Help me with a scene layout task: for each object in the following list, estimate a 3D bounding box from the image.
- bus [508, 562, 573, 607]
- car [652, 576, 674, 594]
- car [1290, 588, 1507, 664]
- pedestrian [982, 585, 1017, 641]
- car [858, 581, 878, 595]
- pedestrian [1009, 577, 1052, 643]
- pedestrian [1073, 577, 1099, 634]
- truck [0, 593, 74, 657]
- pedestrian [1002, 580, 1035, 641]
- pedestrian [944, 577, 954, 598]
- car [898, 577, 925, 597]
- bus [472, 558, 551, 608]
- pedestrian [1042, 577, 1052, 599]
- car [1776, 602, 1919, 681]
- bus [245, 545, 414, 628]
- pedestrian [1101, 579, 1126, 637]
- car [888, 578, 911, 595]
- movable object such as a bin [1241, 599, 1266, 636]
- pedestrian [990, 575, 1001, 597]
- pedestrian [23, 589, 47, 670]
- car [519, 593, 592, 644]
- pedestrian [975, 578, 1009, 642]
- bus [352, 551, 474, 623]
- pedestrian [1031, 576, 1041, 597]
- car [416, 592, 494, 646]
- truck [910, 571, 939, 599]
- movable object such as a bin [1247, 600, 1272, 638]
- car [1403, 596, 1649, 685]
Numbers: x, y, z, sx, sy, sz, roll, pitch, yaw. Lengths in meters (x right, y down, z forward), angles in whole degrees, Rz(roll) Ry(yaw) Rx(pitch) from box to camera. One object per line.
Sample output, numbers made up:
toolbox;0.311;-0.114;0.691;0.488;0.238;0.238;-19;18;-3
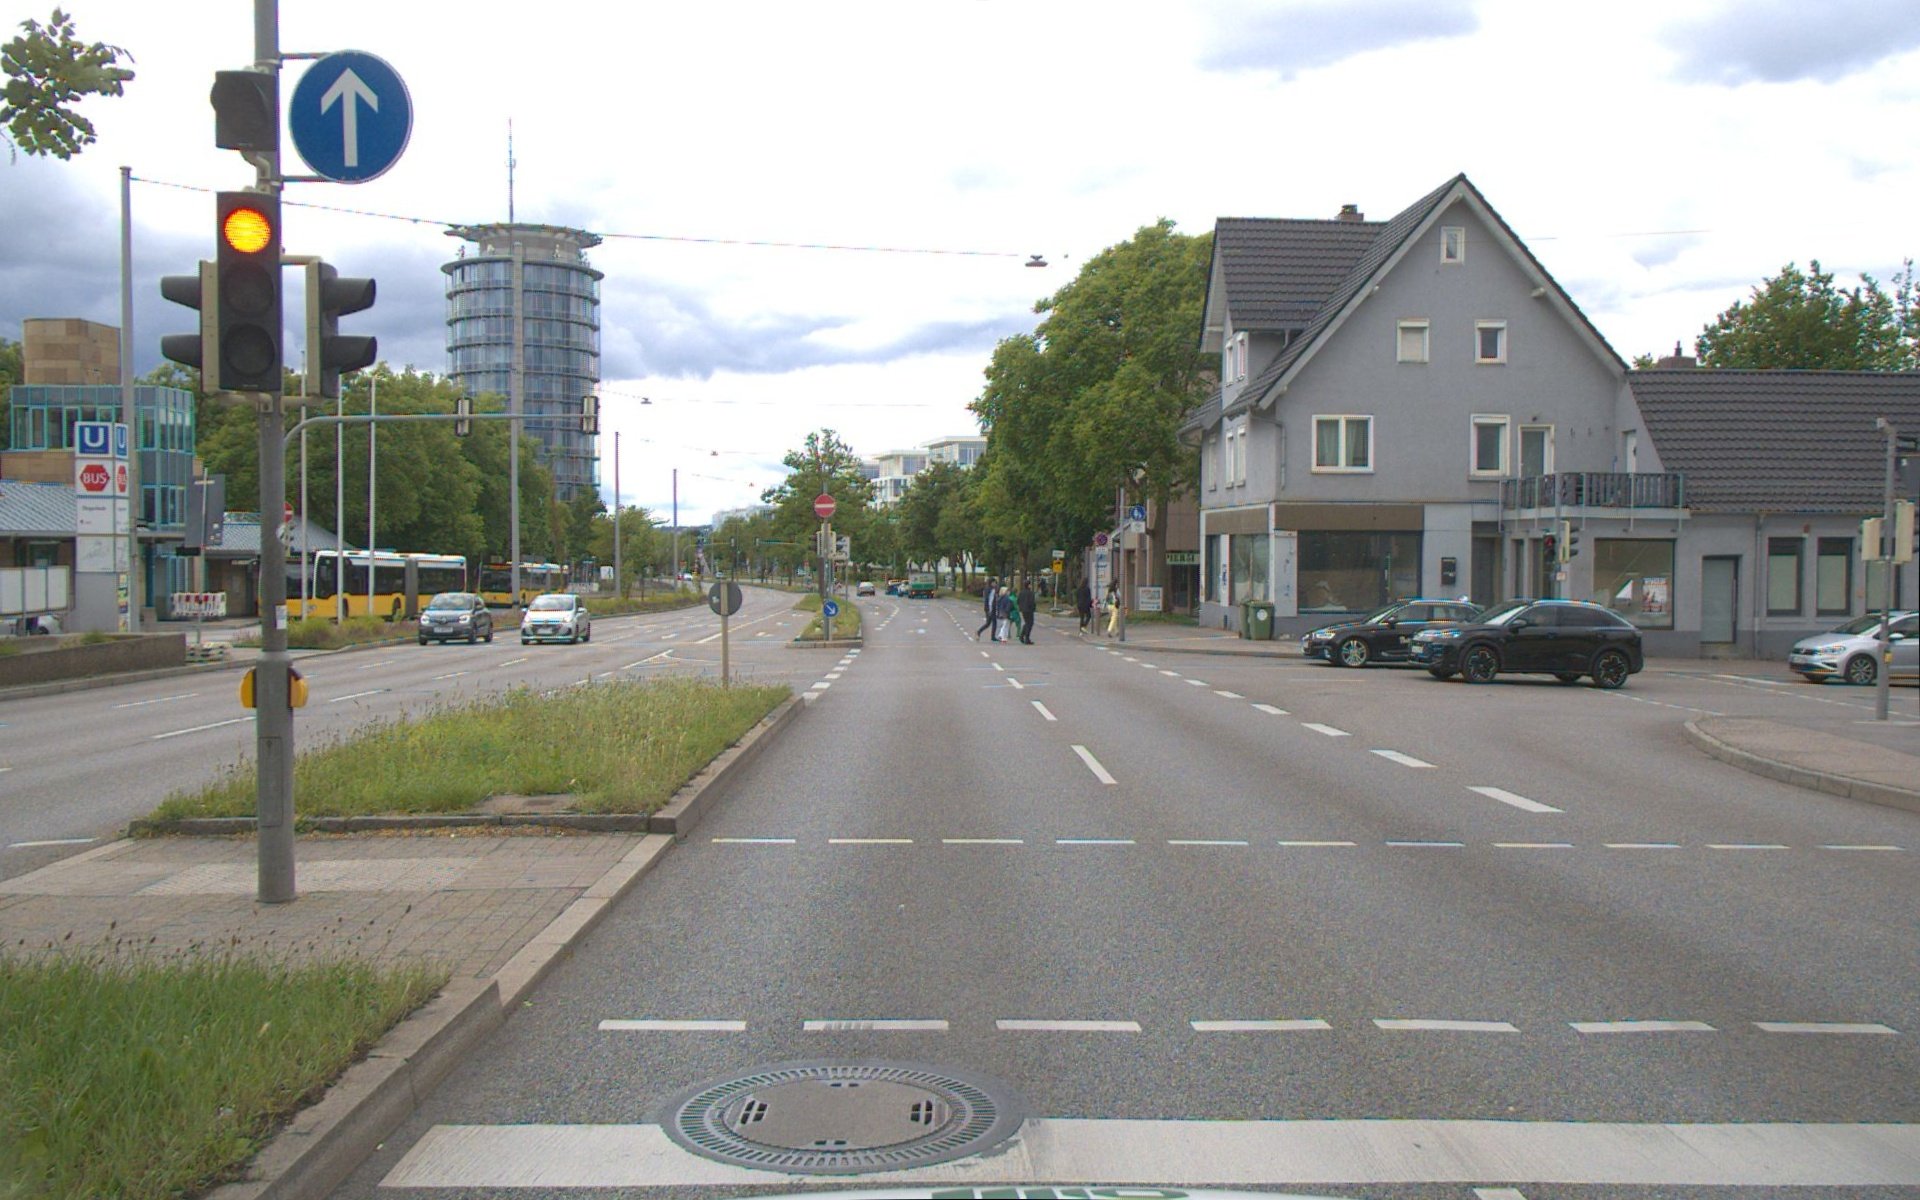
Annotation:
bus;-31.140;-1.137;123.011;3.081;3.281;7.762;0;0;-2
car;-35.896;-1.838;199.743;1.925;2.049;3.999;1;0;-1
car;9.185;0.520;34.828;4.007;1.521;1.892;0;0;-7
pedestrian;1.115;0.362;46.614;0.851;1.533;0.706;0;0;-10
car;-9.601;-1.211;171.908;1.929;1.444;4.017;0;0;-6
pedestrian;1.934;0.263;45.477;1.030;1.791;0.706;0;0;-10
pedestrian;3.789;0.163;49.541;0.690;1.691;0.871;0;0;10
truck;-24.084;0.603;41.184;1.953;1.544;3.999;0;0;-1
pedestrian;1.755;0.321;49.775;0.851;1.811;0.706;0;0;-10
pedestrian;-1.242;-1.426;184.905;0.914;2.349;1.008;1;-1;-10
car;-4.641;-1.225;158.074;2.207;1.787;4.927;0;0;-5
bus;-30.779;-1.122;114.012;3.082;3.281;10.279;0;0;-3
pedestrian;6.440;-0.869;122.629;0.638;1.597;0.669;0;0;-9
car;19.725;0.881;34.994;4.017;1.567;1.828;2;0;-1
bus;-27.080;-0.563;71.693;2.927;3.307;10.174;-1;0;3
pedestrian;4.526;0.241;48.859;0.690;1.691;0.871;0;0;8
car;-6.361;-1.396;173.443;2.207;1.676;4.927;0;0;-6
movable object such as a bin;7.968;0.462;44.950;0.518;0.997;0.736;0;0;-1
pedestrian;3.289;-1.280;154.824;0.951;2.049;0.981;1;-1;-2
pedestrian;-18.670;0.581;33.380;0.414;1.619;0.353;0;0;-30
car;-12.363;0.548;50.725;1.651;1.488;3.552;0;0;-5
pedestrian;0.902;0.292;47.361;0.851;1.811;0.706;0;0;-10
bus;-26.542;-0.616;80.718;2.927;3.327;7.879;-1;0;3
pedestrian;5.611;-1.006;122.649;0.638;1.597;0.669;0;0;-9
car;-15.472;0.563;50.813;1.652;1.606;3.344;0;0;-6
truck;-3.189;-1.346;148.244;2.207;2.459;4.927;0;0;-5
movable object such as a bin;7.999;0.495;44.160;0.518;0.997;0.736;0;0;-1
car;10.602;0.745;31.109;3.984;1.547;1.837;1;0;-9
